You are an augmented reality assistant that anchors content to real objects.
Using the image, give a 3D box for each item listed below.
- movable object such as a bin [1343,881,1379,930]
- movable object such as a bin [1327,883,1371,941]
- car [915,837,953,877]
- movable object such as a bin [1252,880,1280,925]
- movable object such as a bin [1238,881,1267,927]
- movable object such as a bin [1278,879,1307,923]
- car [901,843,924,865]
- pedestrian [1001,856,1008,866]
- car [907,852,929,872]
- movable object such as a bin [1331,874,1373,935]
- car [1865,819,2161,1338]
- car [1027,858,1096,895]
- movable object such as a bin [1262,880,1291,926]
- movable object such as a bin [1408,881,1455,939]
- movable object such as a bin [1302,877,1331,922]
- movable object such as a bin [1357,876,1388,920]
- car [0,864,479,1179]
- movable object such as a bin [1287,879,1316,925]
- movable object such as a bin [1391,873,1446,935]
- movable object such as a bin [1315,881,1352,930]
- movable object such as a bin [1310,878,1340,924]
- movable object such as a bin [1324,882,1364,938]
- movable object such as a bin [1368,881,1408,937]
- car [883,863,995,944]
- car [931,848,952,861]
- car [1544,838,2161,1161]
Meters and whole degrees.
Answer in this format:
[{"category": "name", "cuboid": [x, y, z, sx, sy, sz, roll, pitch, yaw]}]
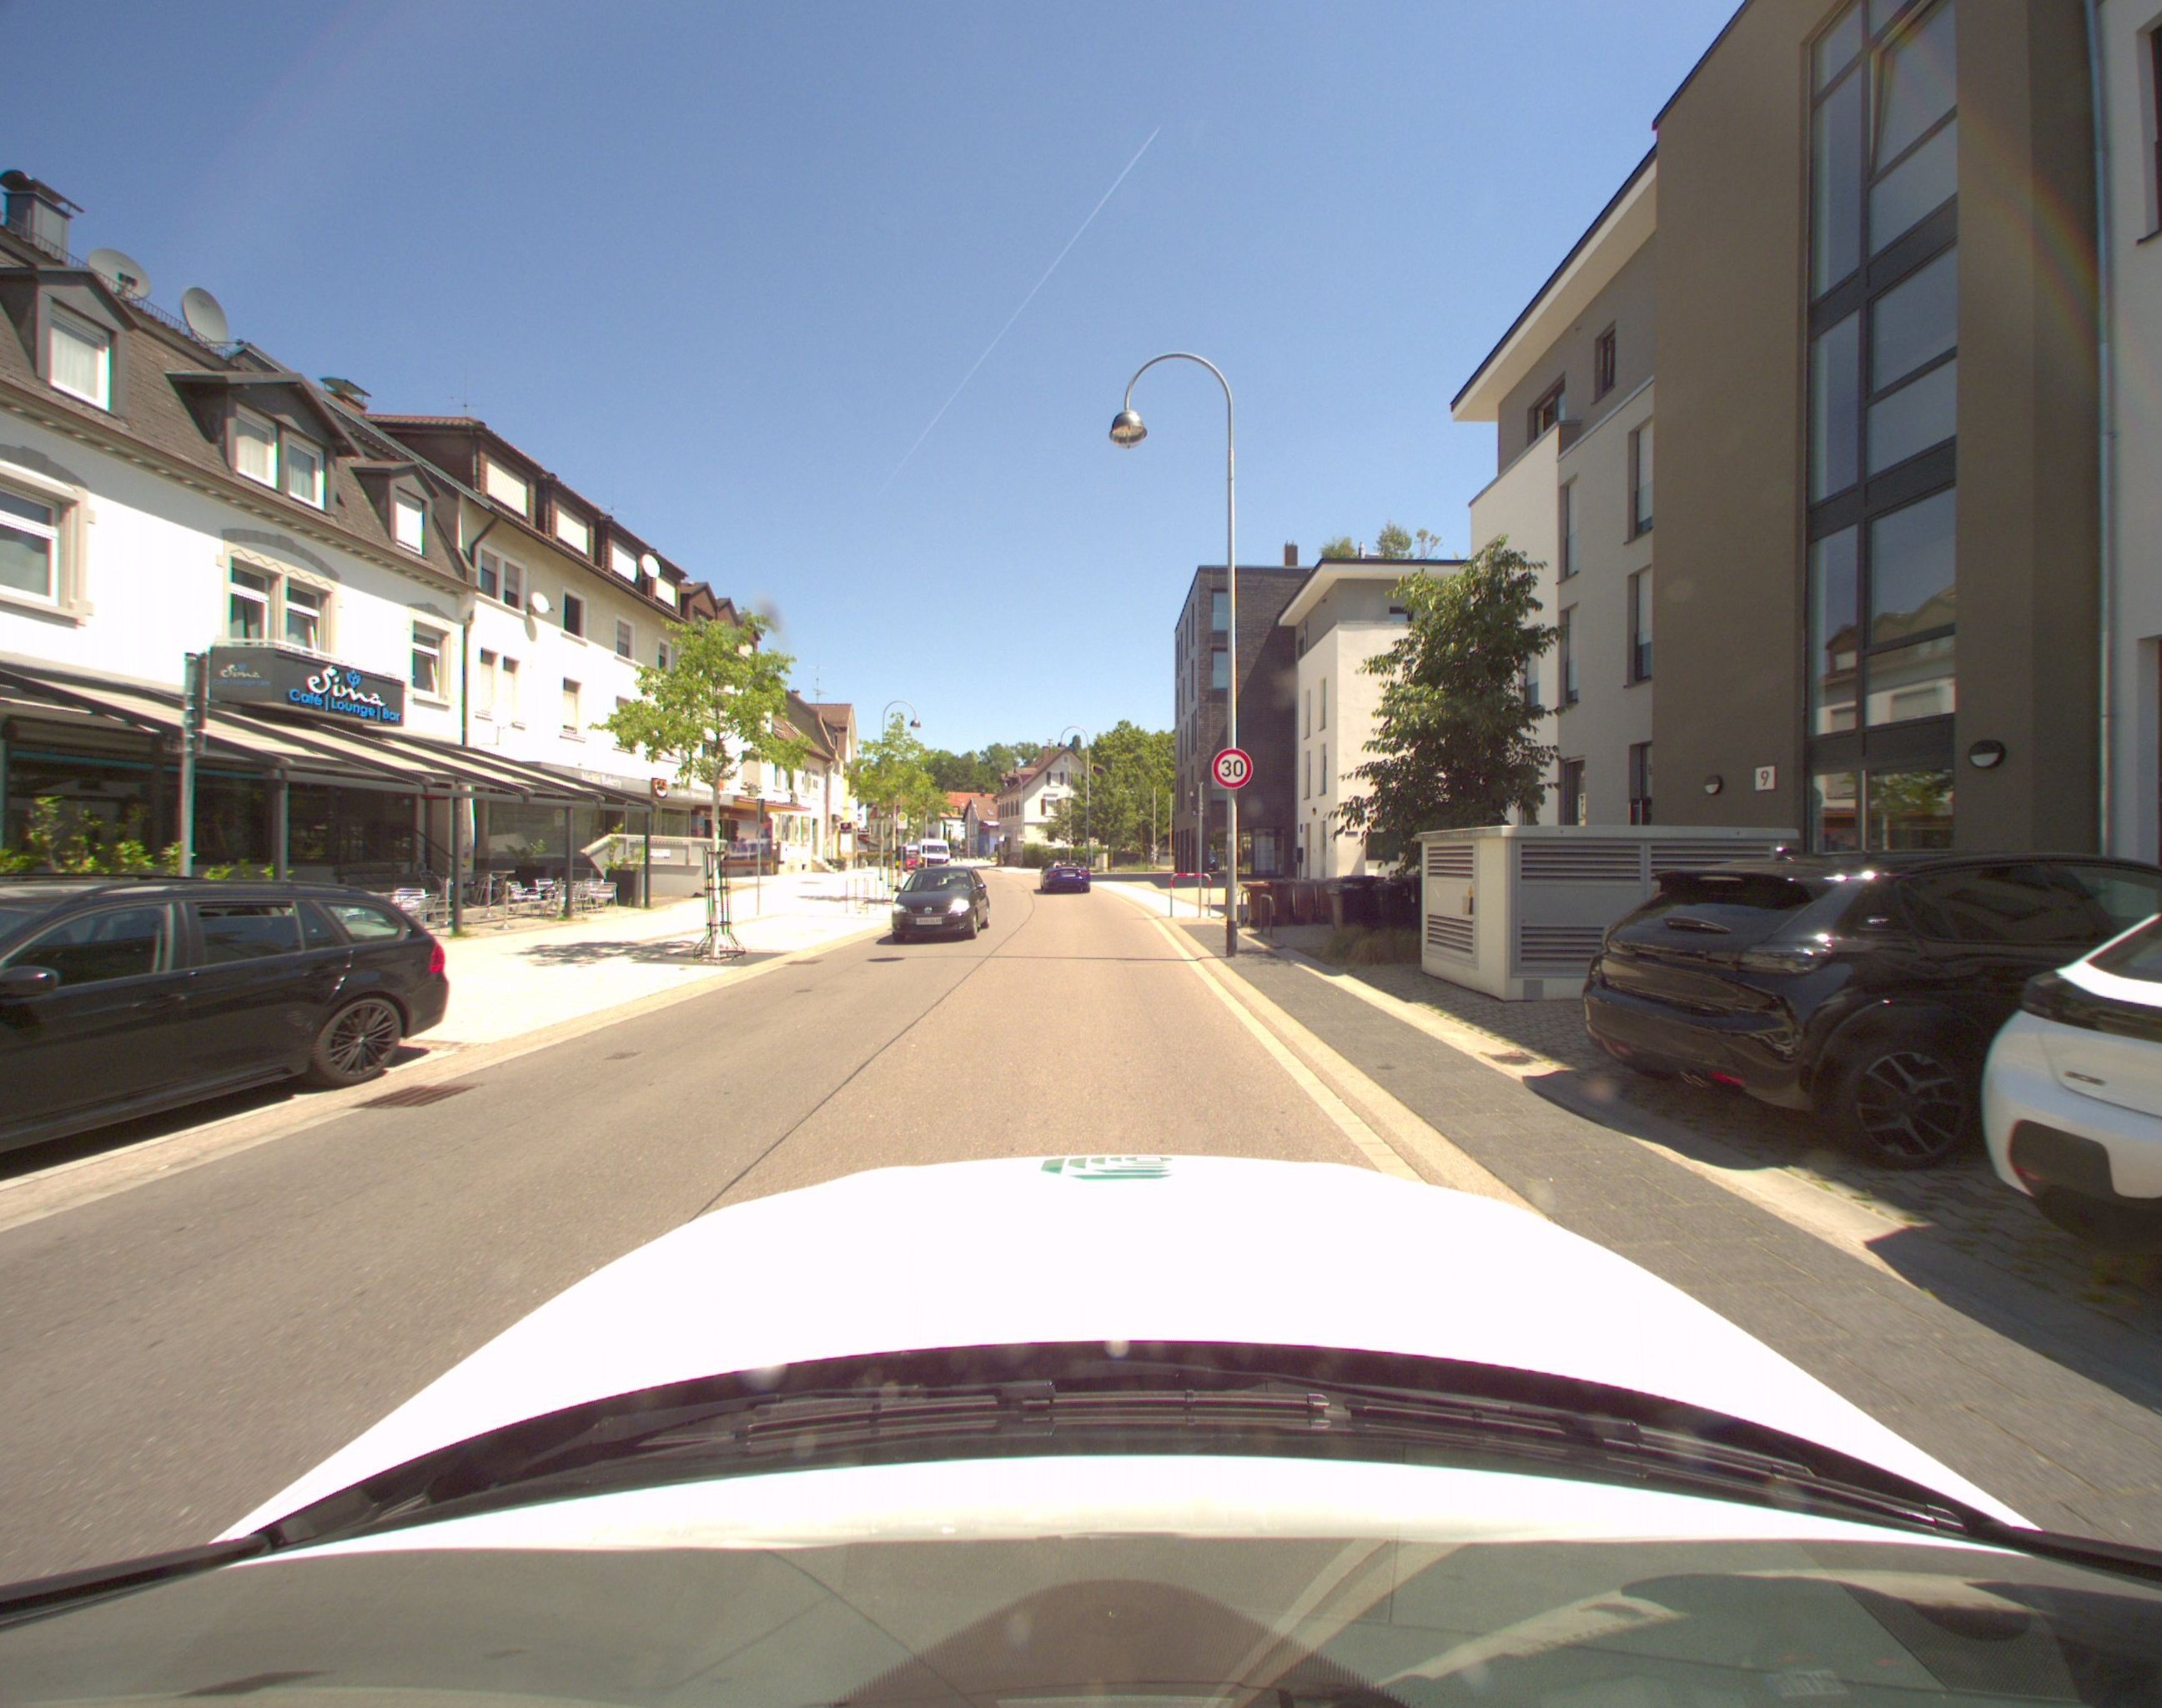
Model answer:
[{"category": "movable object such as a bin", "cuboid": [5.482, 0.995, 15.948, 0.483, 0.924, 0.434, -1, -1, -22]}, {"category": "movable object such as a bin", "cuboid": [4.536, 0.976, 13.803, 0.560, 0.931, 0.465, -2, -1, -5]}, {"category": "car", "cuboid": [-10.084, 0.204, 55.686, 2.095, 2.498, 5.476, 2, -1, -14]}, {"category": "movable object such as a bin", "cuboid": [4.016, 1.043, 17.682, 0.471, 0.931, 0.528, -1, -1, 0]}, {"category": "movable object such as a bin", "cuboid": [3.596, 1.039, 17.113, 0.471, 0.931, 0.528, -1, -1, 0]}, {"category": "movable object such as a bin", "cuboid": [4.594, 1.010, 17.687, 0.471, 0.931, 0.528, -1, -1, 0]}, {"category": "car", "cuboid": [-19.067, 0.029, 91.903, 2.160, 2.362, 5.220, -1, 0, -16]}, {"category": "pedestrian", "cuboid": [-8.114, 0.738, 86.705, 0.591, 0.999, 0.719, -1, 0, -18]}, {"category": "car", "cuboid": [-12.811, 0.639, 63.892, 1.561, 1.520, 3.499, 0, 0, -13]}, {"category": "movable object such as a bin", "cuboid": [4.952, 0.911, 14.901, 0.567, 1.060, 0.560, -2, -1, 2]}, {"category": "car", "cuboid": [4.981, 0.634, 2.354, 3.798, 1.482, 1.777, 0, -1, -2]}, {"category": "car", "cuboid": [-0.895, 0.896, 34.178, 1.914, 1.360, 4.263, -1, 0, -16]}, {"category": "movable object such as a bin", "cuboid": [4.113, 1.025, 17.121, 0.465, 0.931, 0.528, -1, -1, 0]}, {"category": "movable object such as a bin", "cuboid": [5.923, 0.938, 13.777, 0.560, 0.931, 0.465, -2, -1, -5]}, {"category": "movable object such as a bin", "cuboid": [5.117, 0.985, 17.693, 0.471, 0.931, 0.528, -1, -1, 0]}, {"category": "movable object such as a bin", "cuboid": [6.292, 0.947, 17.603, 0.471, 0.931, 0.528, -1, -1, 0]}, {"category": "car", "cuboid": [-6.009, 0.816, 4.523, 1.746, 1.445, 4.453, 2, 0, 4]}, {"category": "movable object such as a bin", "cuboid": [4.635, 1.003, 17.133, 0.463, 0.931, 0.522, -1, -1, 0]}, {"category": "movable object such as a bin", "cuboid": [5.998, 0.874, 14.487, 0.646, 1.060, 0.623, -1, -1, -12]}, {"category": "movable object such as a bin", "cuboid": [4.926, 0.997, 15.879, 0.517, 0.924, 0.434, -1, -1, -22]}, {"category": "movable object such as a bin", "cuboid": [5.132, 0.981, 17.130, 0.463, 0.931, 0.522, -1, -1, 0]}, {"category": "movable object such as a bin", "cuboid": [4.645, 0.982, 14.419, 0.511, 0.931, 0.465, -2, -1, -5]}, {"category": "movable object such as a bin", "cuboid": [5.397, 0.959, 14.324, 0.483, 0.931, 0.466, -2, -1, -5]}, {"category": "car", "cuboid": [-2.867, 0.945, 17.204, 1.611, 1.454, 3.864, -1, 0, 1]}, {"category": "car", "cuboid": [-21.322, 0.046, 124.444, 2.006, 2.014, 3.962, 1, -1, -30]}, {"category": "car", "cuboid": [4.854, 0.670, 4.530, 3.643, 1.445, 1.536, -2, -1, 2]}]
